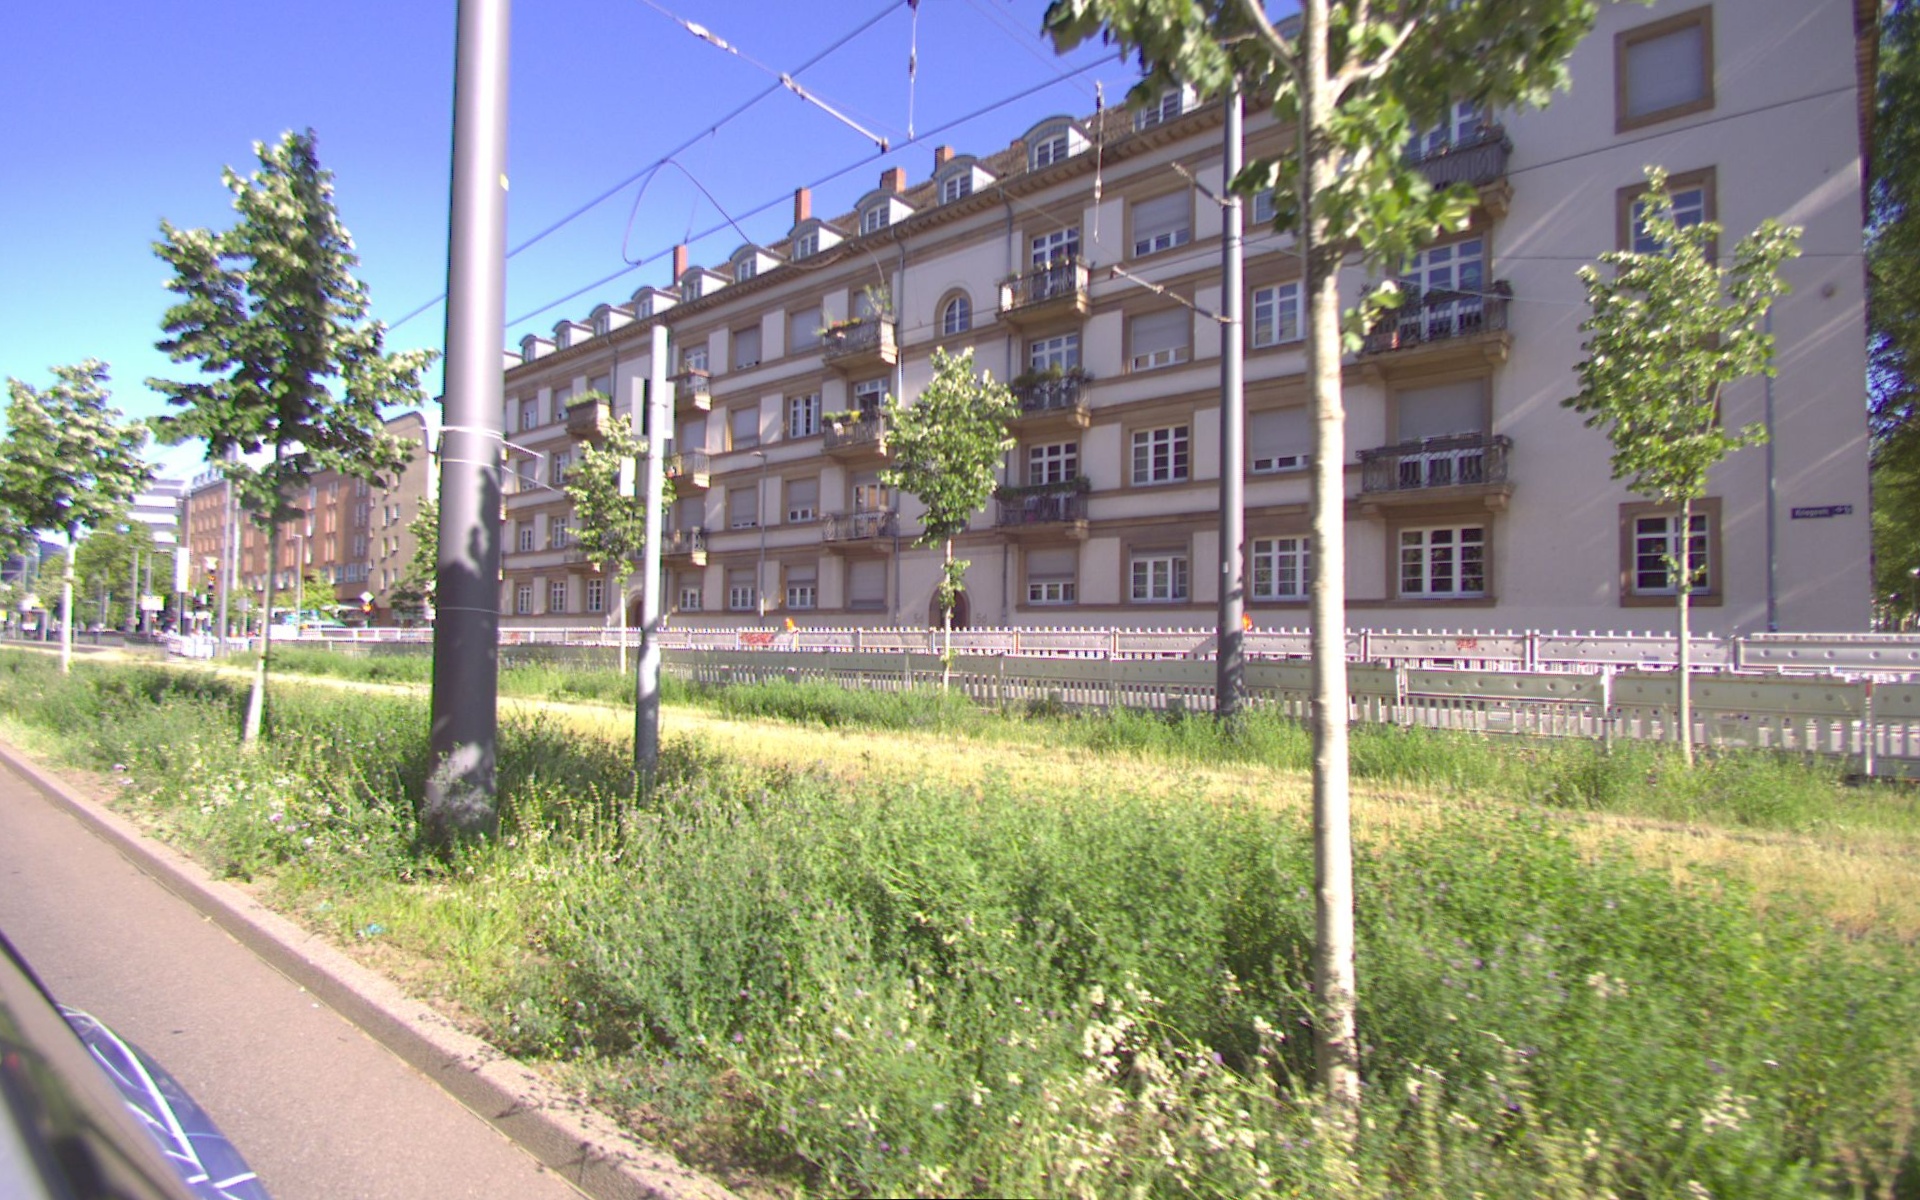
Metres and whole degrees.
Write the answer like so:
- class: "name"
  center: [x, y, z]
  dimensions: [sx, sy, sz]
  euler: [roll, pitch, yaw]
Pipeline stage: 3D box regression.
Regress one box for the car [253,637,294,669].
- class: "car"
  center: [-52.857, 4.010, 77.876]
  dimensions: [1.969, 2.314, 5.196]
  euler: [2, -2, -41]
